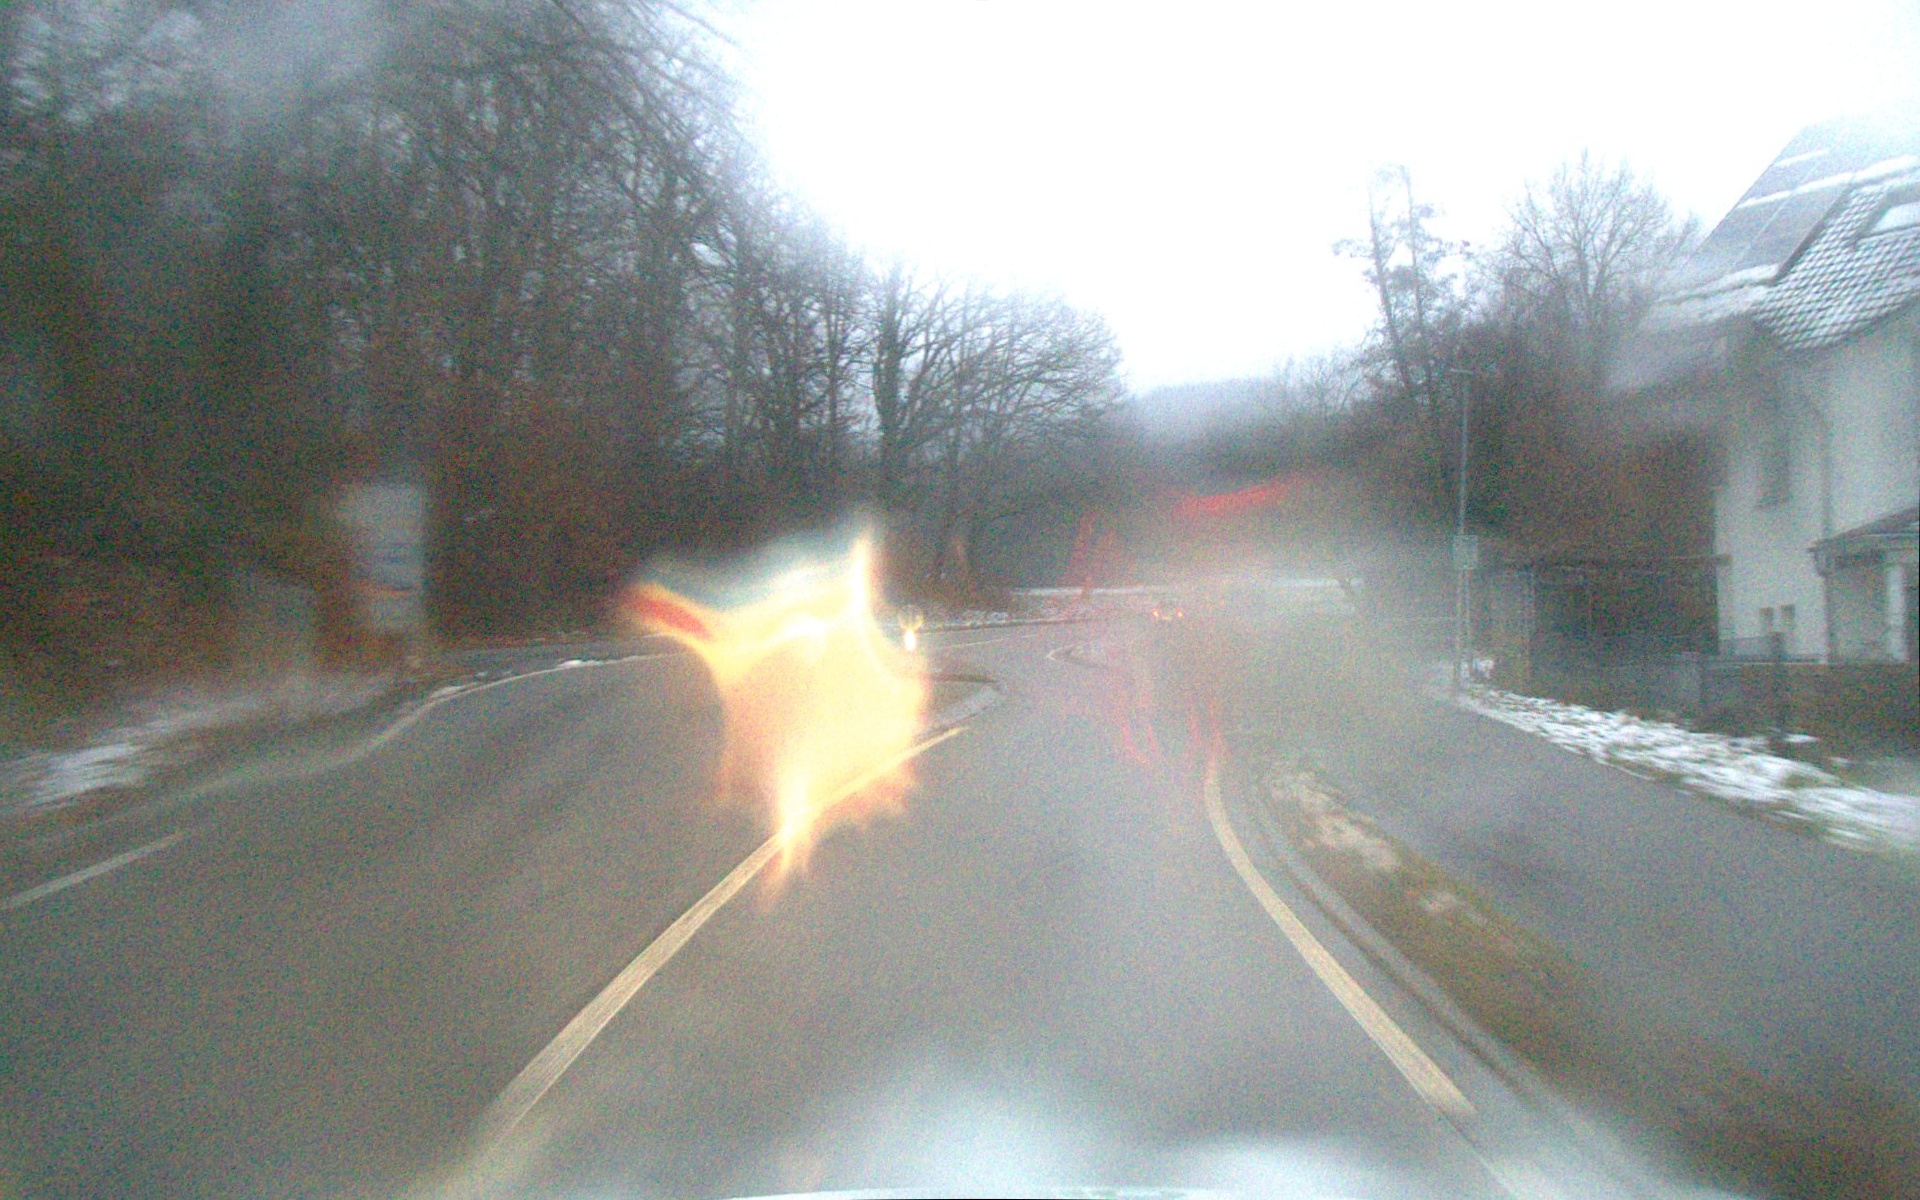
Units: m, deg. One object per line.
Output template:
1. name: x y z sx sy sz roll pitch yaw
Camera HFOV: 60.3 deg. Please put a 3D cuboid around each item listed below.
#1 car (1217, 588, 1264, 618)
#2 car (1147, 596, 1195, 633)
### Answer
1. car: 16.525 0.179 97.413 1.893 1.705 3.999 0 0 22
2. car: 10.932 0.724 85.529 1.892 1.812 4.003 0 0 15
